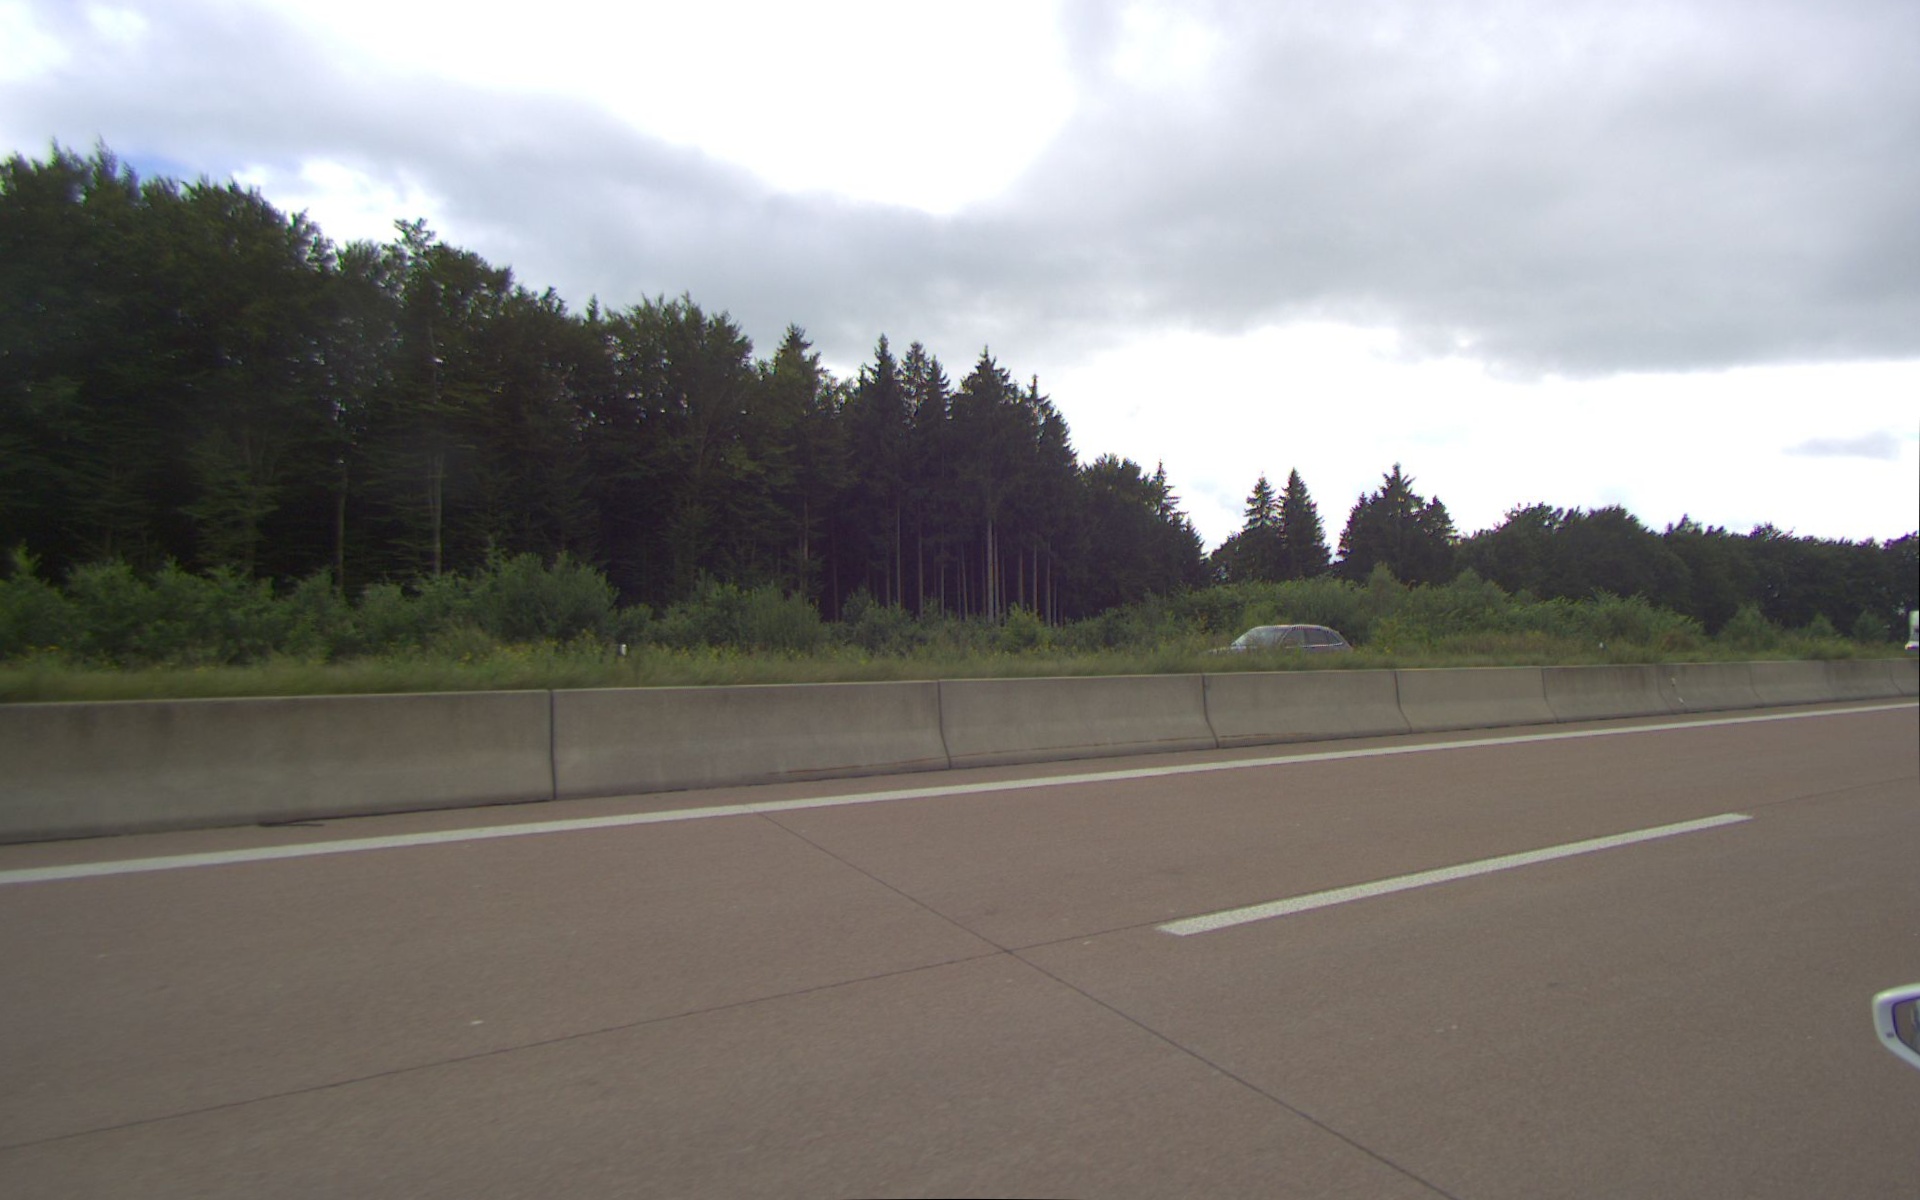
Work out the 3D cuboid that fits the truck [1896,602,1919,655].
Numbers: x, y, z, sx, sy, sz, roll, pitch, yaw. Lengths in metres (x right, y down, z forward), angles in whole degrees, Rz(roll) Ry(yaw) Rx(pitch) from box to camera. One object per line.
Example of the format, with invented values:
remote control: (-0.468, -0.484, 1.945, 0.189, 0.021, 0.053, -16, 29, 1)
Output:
truck: (60.603, 1.802, 61.830, 7.396, 3.141, 2.344, 1, 1, -31)
